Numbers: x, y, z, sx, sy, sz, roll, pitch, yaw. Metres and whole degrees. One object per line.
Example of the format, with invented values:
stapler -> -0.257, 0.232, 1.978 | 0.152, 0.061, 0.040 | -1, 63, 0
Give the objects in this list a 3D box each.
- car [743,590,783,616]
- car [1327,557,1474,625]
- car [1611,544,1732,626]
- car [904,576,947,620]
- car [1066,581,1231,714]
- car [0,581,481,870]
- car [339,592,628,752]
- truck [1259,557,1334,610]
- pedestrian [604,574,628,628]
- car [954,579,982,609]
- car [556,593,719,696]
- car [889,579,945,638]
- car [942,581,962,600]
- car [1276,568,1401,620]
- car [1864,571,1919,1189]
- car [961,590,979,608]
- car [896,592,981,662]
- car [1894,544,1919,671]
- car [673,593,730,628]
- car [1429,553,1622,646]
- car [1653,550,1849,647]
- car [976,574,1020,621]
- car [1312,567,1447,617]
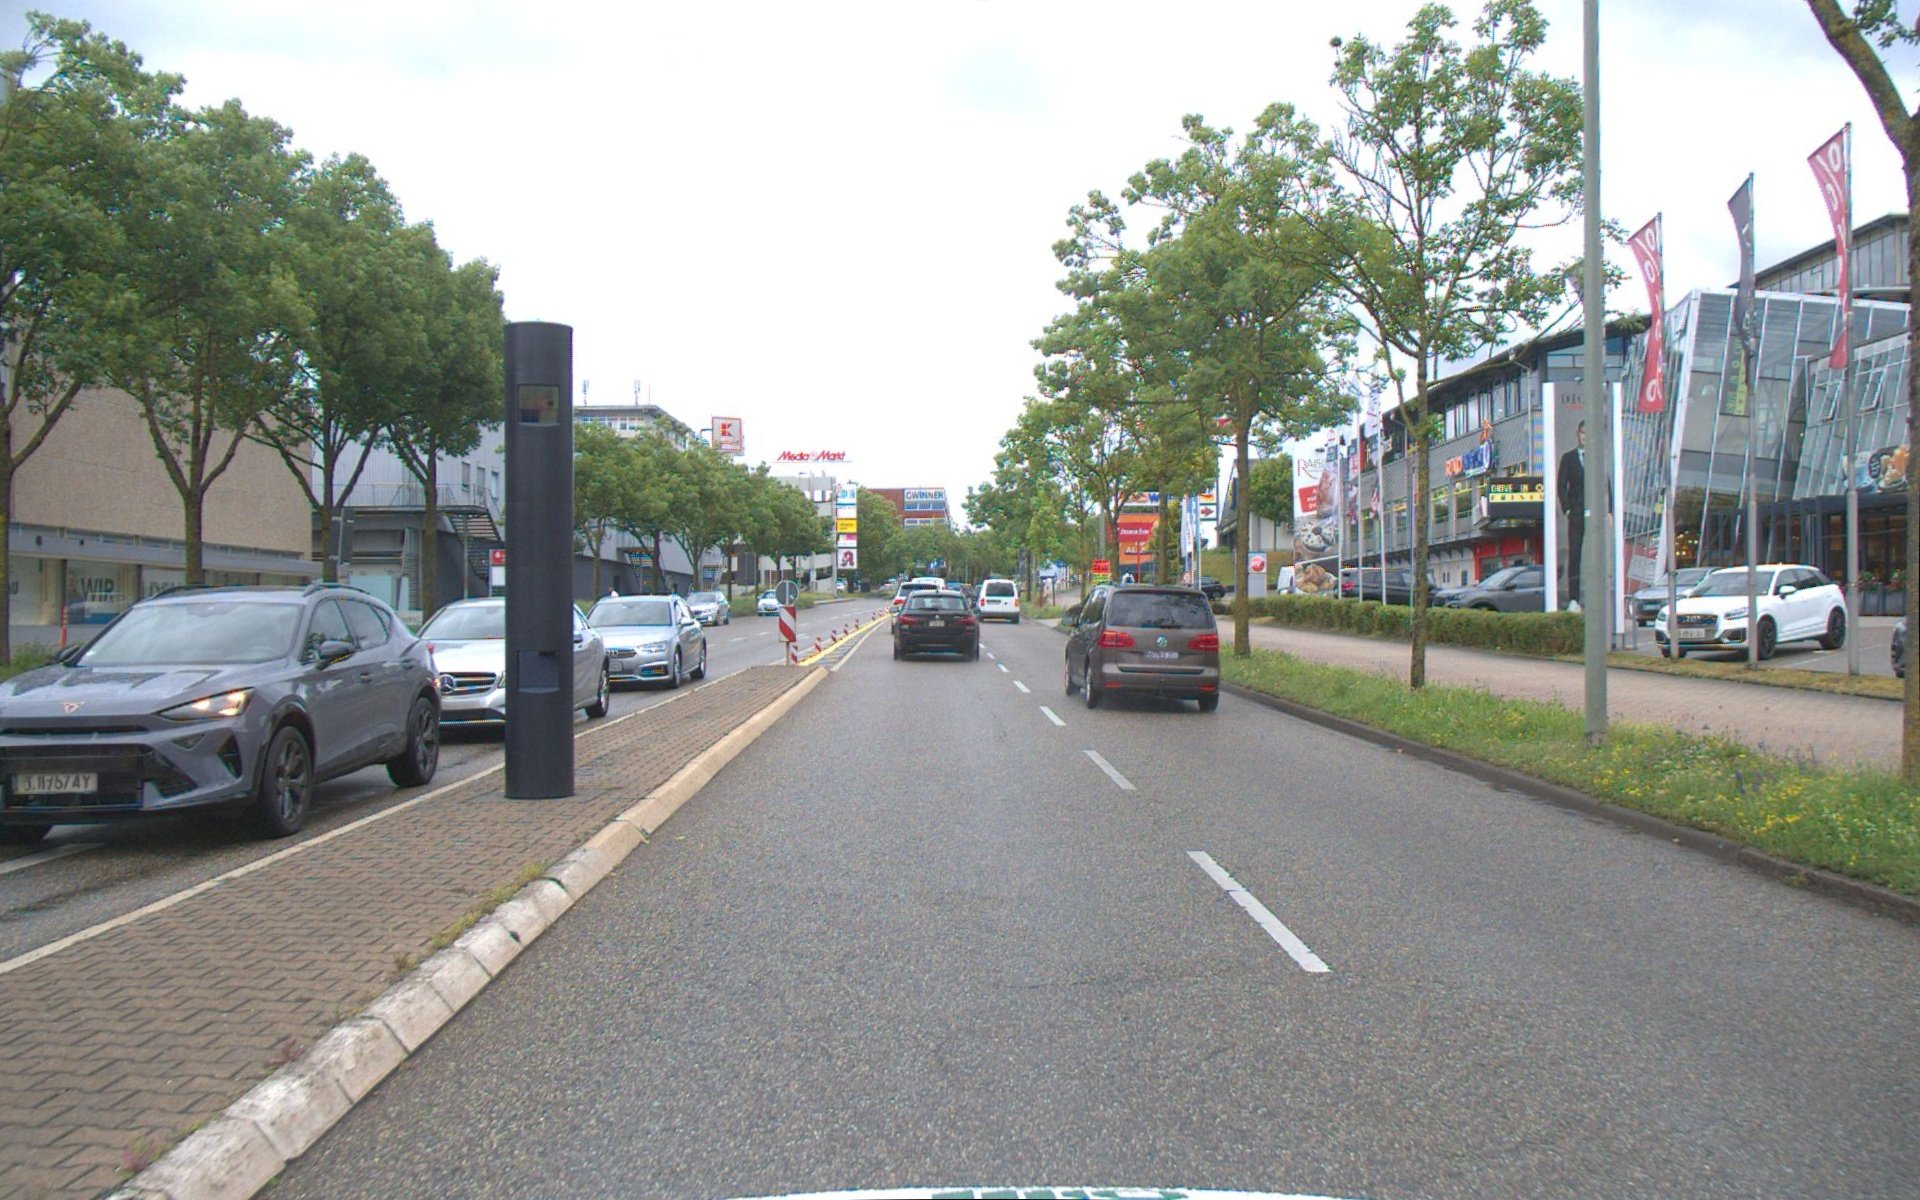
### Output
car -> -11.340, 0.164, 95.589 | 1.904, 1.474, 3.999 | 0, 0, -1
car -> 13.423, -0.276, 50.555 | 4.026, 1.938, 1.800 | -1, 0, 1
car -> 18.061, -0.383, 41.889 | 1.763, 1.975, 4.020 | 0, 1, 40
car -> -1.655, -0.072, 80.589 | 1.953, 2.049, 3.999 | 1, -1, 0
car -> 2.479, 0.585, 22.769 | 1.764, 1.615, 4.451 | 1, 0, 0
car -> -4.822, 0.666, 11.197 | 1.709, 1.515, 4.829 | -1, 0, 0
car -> -5.001, 0.676, 18.115 | 1.804, 1.401, 4.861 | -4, 0, -2
truck -> 16.262, -0.737, 80.205 | 2.393, 2.389, 5.457 | 1, -1, -1
pedestrian -> -14.508, 0.046, 69.749 | 0.842, 2.257, 0.845 | 0, 0, -4
car -> 0.515, -0.353, 101.696 | 1.650, 1.713, 3.402 | 1, -1, 0
car -> -5.065, 0.653, 26.587 | 1.688, 1.422, 4.788 | -3, 0, -1
car -> -1.352, 0.263, 53.357 | 1.745, 1.824, 3.999 | 0, 0, -1
car -> -0.697, -0.762, 137.403 | 1.562, 1.500, 3.443 | 1, -1, -1
car -> 13.173, -0.210, 57.759 | 4.024, 1.733, 1.801 | 0, 0, 5
car -> 3.394, 0.721, 2.183 | 1.765, 1.571, 4.618 | 1, 0, -2
car -> 0.913, -0.088, 153.505 | 1.587, 1.521, 3.359 | 1, -1, -1
car -> -0.468, 0.561, 35.840 | 1.745, 1.422, 3.999 | 0, 0, -1
car -> 13.477, 0.060, 21.055 | 3.565, 1.563, 1.620 | -1, 0, -40
car -> -11.160, 0.430, 71.519 | 1.904, 1.478, 3.999 | 0, 0, -1
car -> 13.535, -0.016, 39.740 | 4.026, 2.142, 1.800 | 0, 0, 1
car -> 13.781, -0.053, 28.759 | 3.565, 1.563, 1.771 | -2, 0, -40
car -> 1.604, -0.104, 70.877 | 1.745, 1.899, 3.999 | -1, 0, -1
car -> 13.543, -0.272, 53.581 | 4.024, 1.563, 1.801 | 0, 0, 5
